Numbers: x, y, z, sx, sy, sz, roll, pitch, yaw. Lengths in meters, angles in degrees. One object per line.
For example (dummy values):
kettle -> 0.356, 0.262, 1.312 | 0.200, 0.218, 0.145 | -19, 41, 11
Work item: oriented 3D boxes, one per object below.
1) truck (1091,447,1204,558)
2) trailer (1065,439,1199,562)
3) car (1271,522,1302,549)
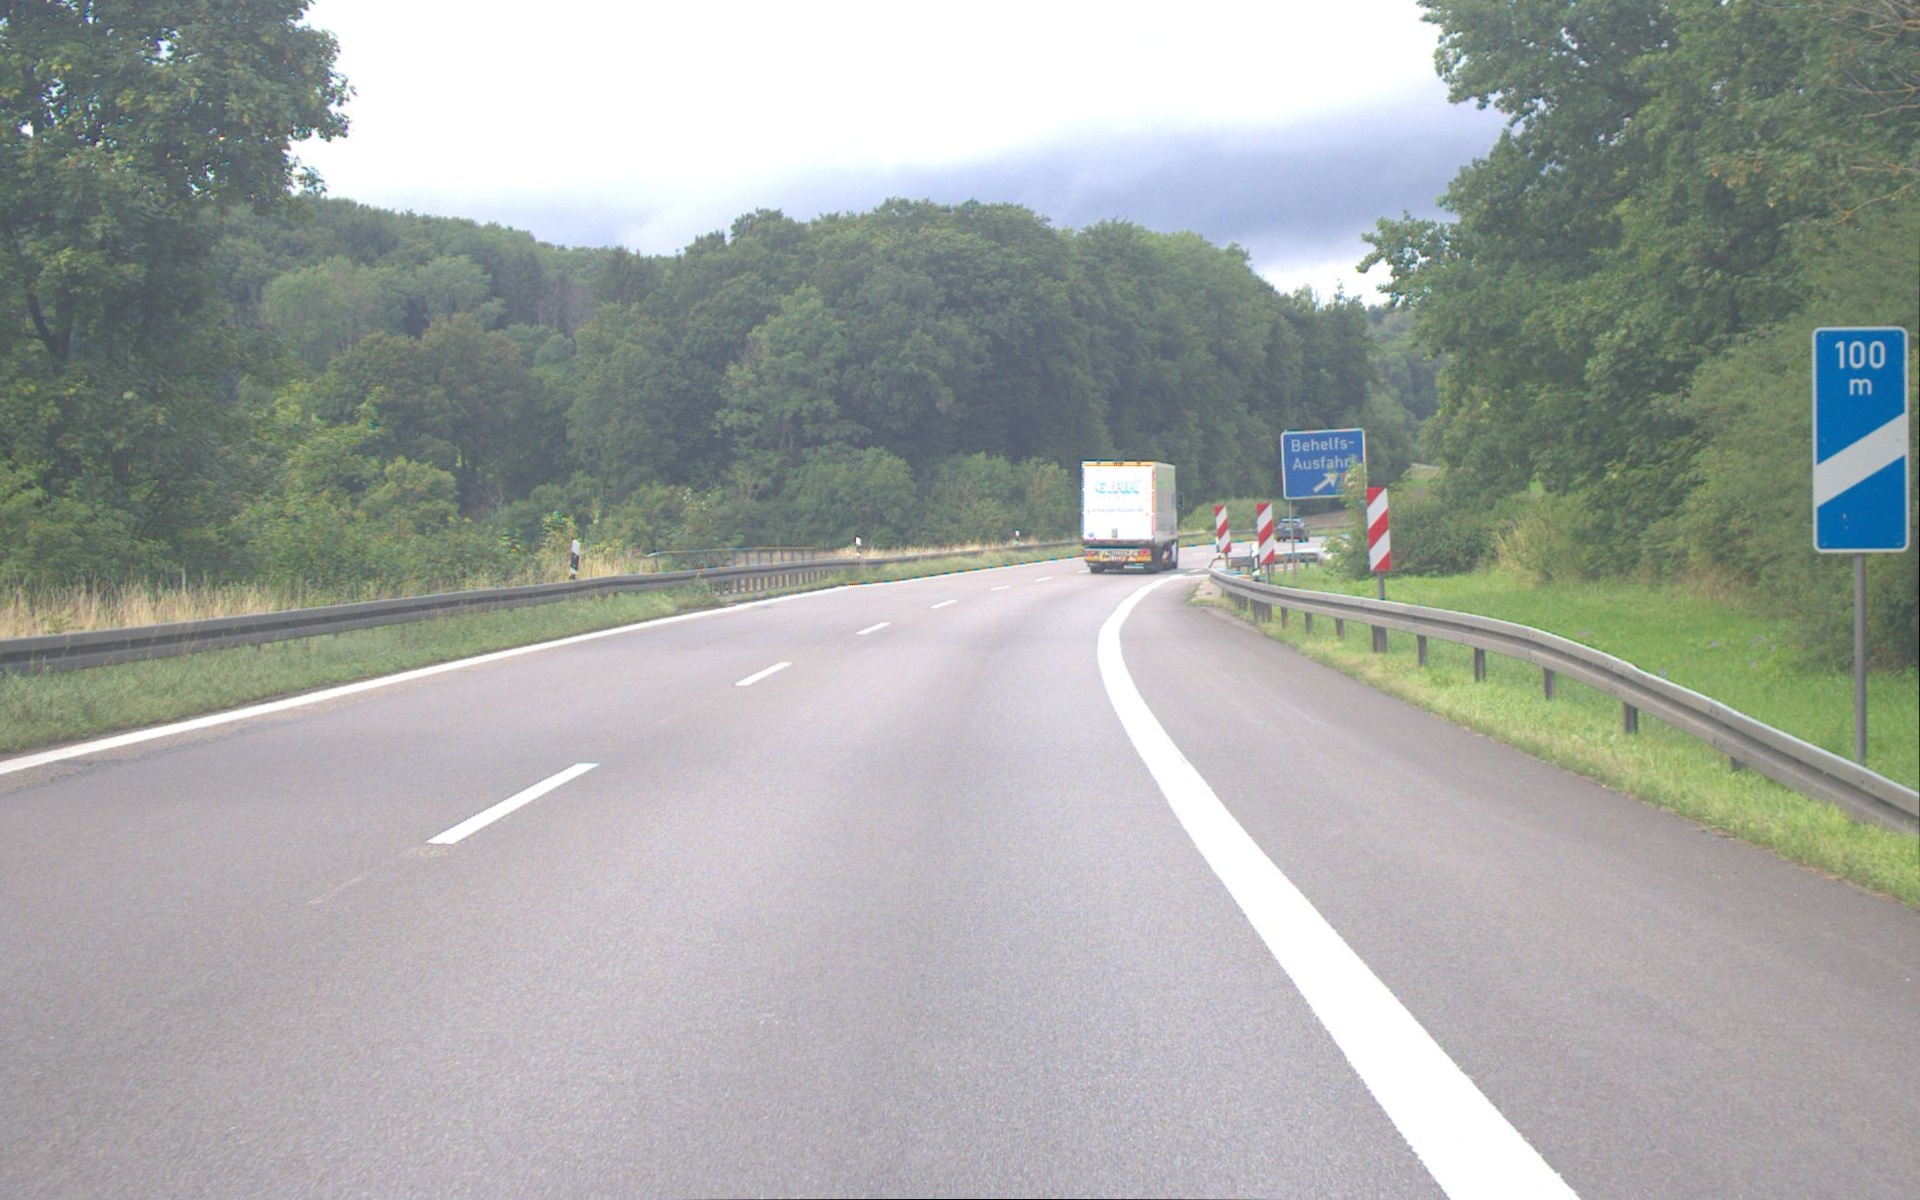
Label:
truck -> 7.364, -3.779, 133.825 | 3.788, 4.117, 8.263 | -1, 1, 7
trailer -> 6.494, -3.619, 126.668 | 3.806, 4.160, 14.805 | -1, 1, 7
car -> 22.536, -4.426, 237.252 | 1.903, 1.789, 3.999 | 0, 0, 9
